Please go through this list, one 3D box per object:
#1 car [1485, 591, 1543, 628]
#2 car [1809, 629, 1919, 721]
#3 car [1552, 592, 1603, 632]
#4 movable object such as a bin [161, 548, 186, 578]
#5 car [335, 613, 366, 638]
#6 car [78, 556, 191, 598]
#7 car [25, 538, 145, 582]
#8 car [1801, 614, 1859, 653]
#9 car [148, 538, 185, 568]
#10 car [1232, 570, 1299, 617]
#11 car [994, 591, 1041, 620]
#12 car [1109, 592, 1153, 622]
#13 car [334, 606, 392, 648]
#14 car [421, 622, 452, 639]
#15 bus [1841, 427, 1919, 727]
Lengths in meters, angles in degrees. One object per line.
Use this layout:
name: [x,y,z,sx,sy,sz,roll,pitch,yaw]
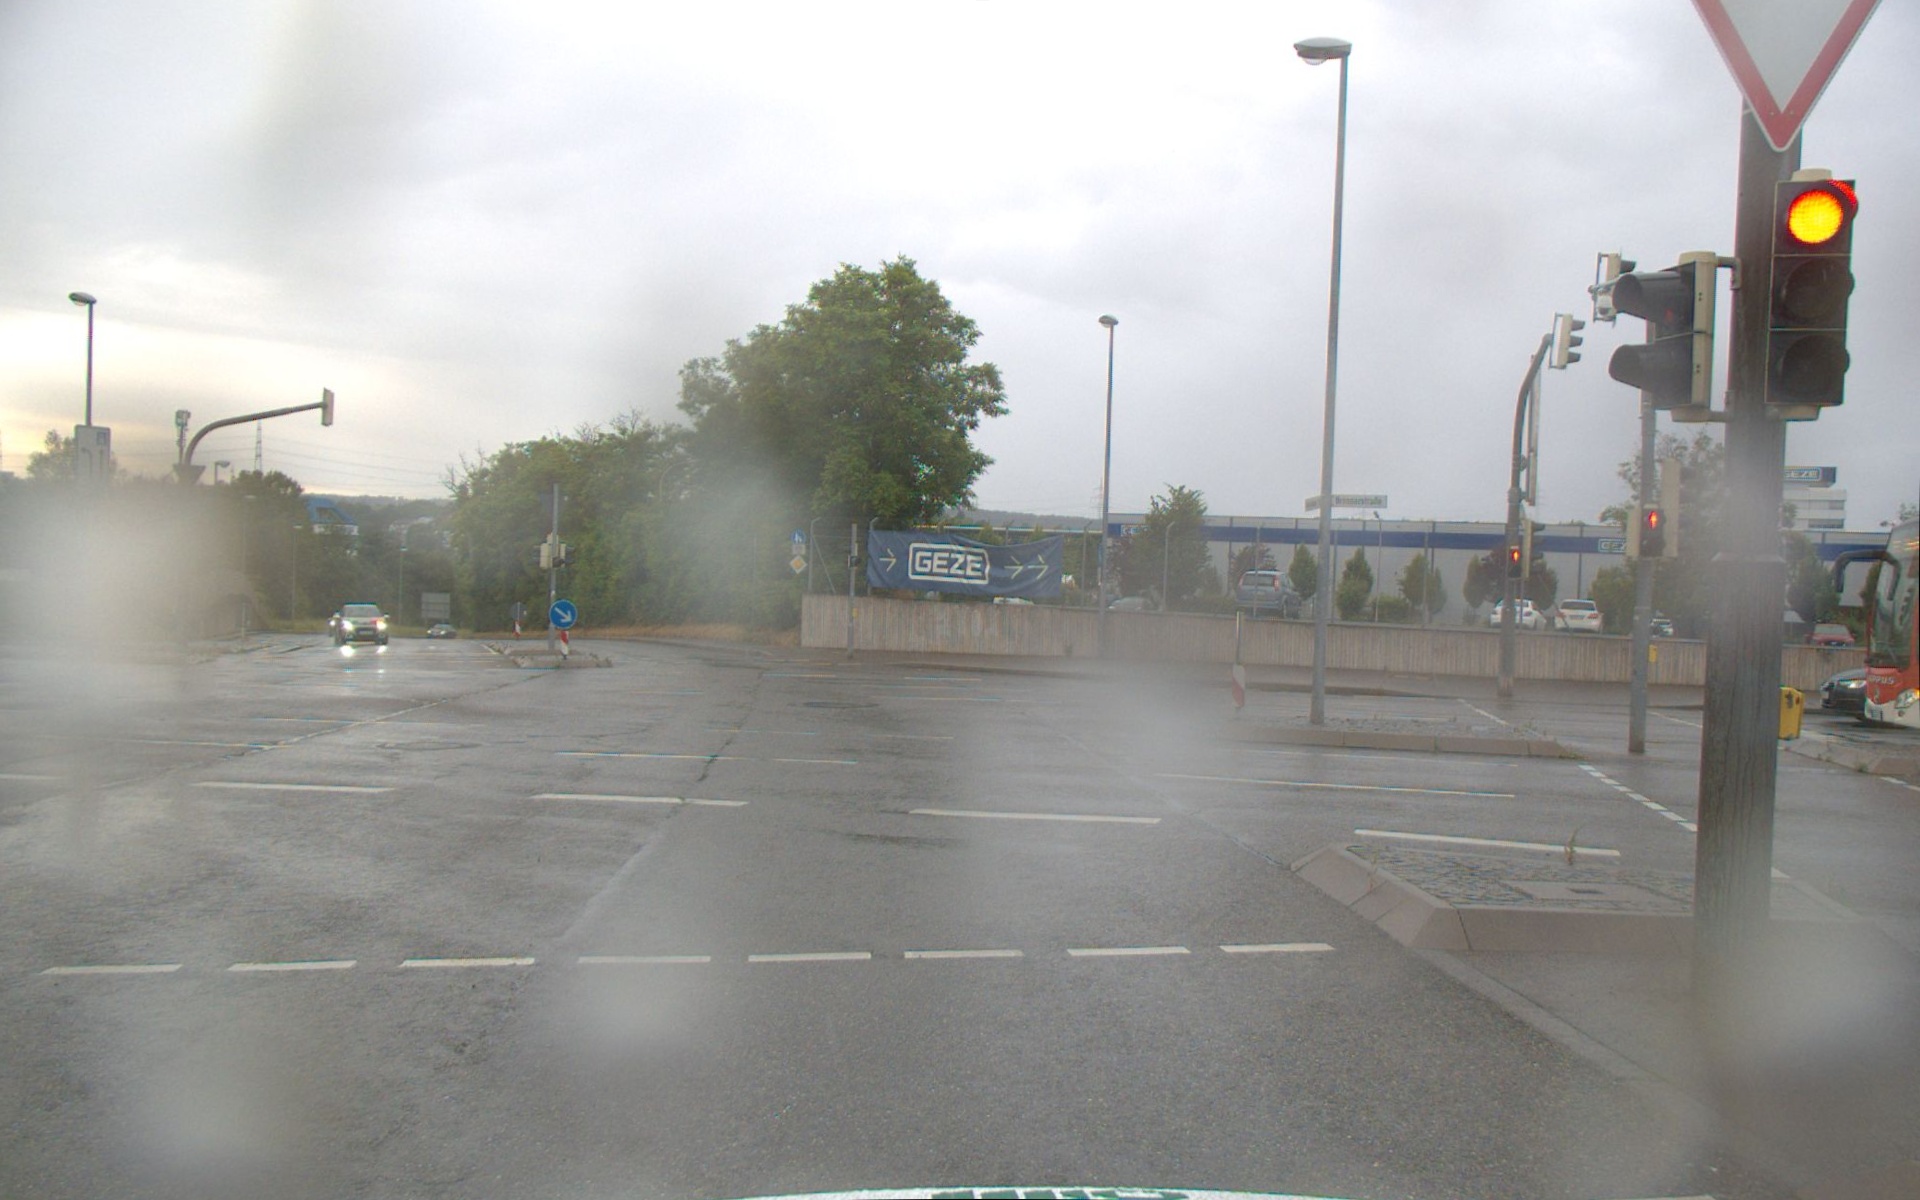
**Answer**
car: [23.040,0.418,68.699,1.781,1.459,4.100,1,0,25]
car: [16.284,1.241,26.674,4.286,1.378,1.827,2,0,16]
car: [25.456,0.504,68.105,1.820,1.552,4.103,1,0,22]
movable object such as a bin: [-40.958,-1.904,86.164,1.071,1.462,1.434,3,-2,-27]
car: [-38.628,1.618,104.904,1.693,1.521,3.979,1,-1,-18]
car: [-35.248,-0.969,70.652,3.902,1.614,1.903,1,-2,12]
car: [-35.844,-1.619,67.824,3.902,1.614,1.903,1,-2,8]
car: [38.943,1.466,74.109,1.883,1.616,3.788,2,0,22]
car: [-45.627,-2.669,95.084,1.806,1.467,3.964,3,-2,-27]
car: [10.655,-0.214,57.601,1.707,1.580,3.531,1,0,20]
car: [3.356,0.304,95.948,1.632,1.634,3.531,1,0,20]
car: [9.591,0.397,92.740,1.632,1.634,3.531,1,0,20]
car: [-22.525,1.001,62.322,1.640,1.521,3.967,1,-1,-25]
car: [-49.558,2.847,156.646,1.860,1.481,3.997,1,0,-4]
bus: [17.670,0.038,19.882,11.995,3.638,2.988,3,0,17]
